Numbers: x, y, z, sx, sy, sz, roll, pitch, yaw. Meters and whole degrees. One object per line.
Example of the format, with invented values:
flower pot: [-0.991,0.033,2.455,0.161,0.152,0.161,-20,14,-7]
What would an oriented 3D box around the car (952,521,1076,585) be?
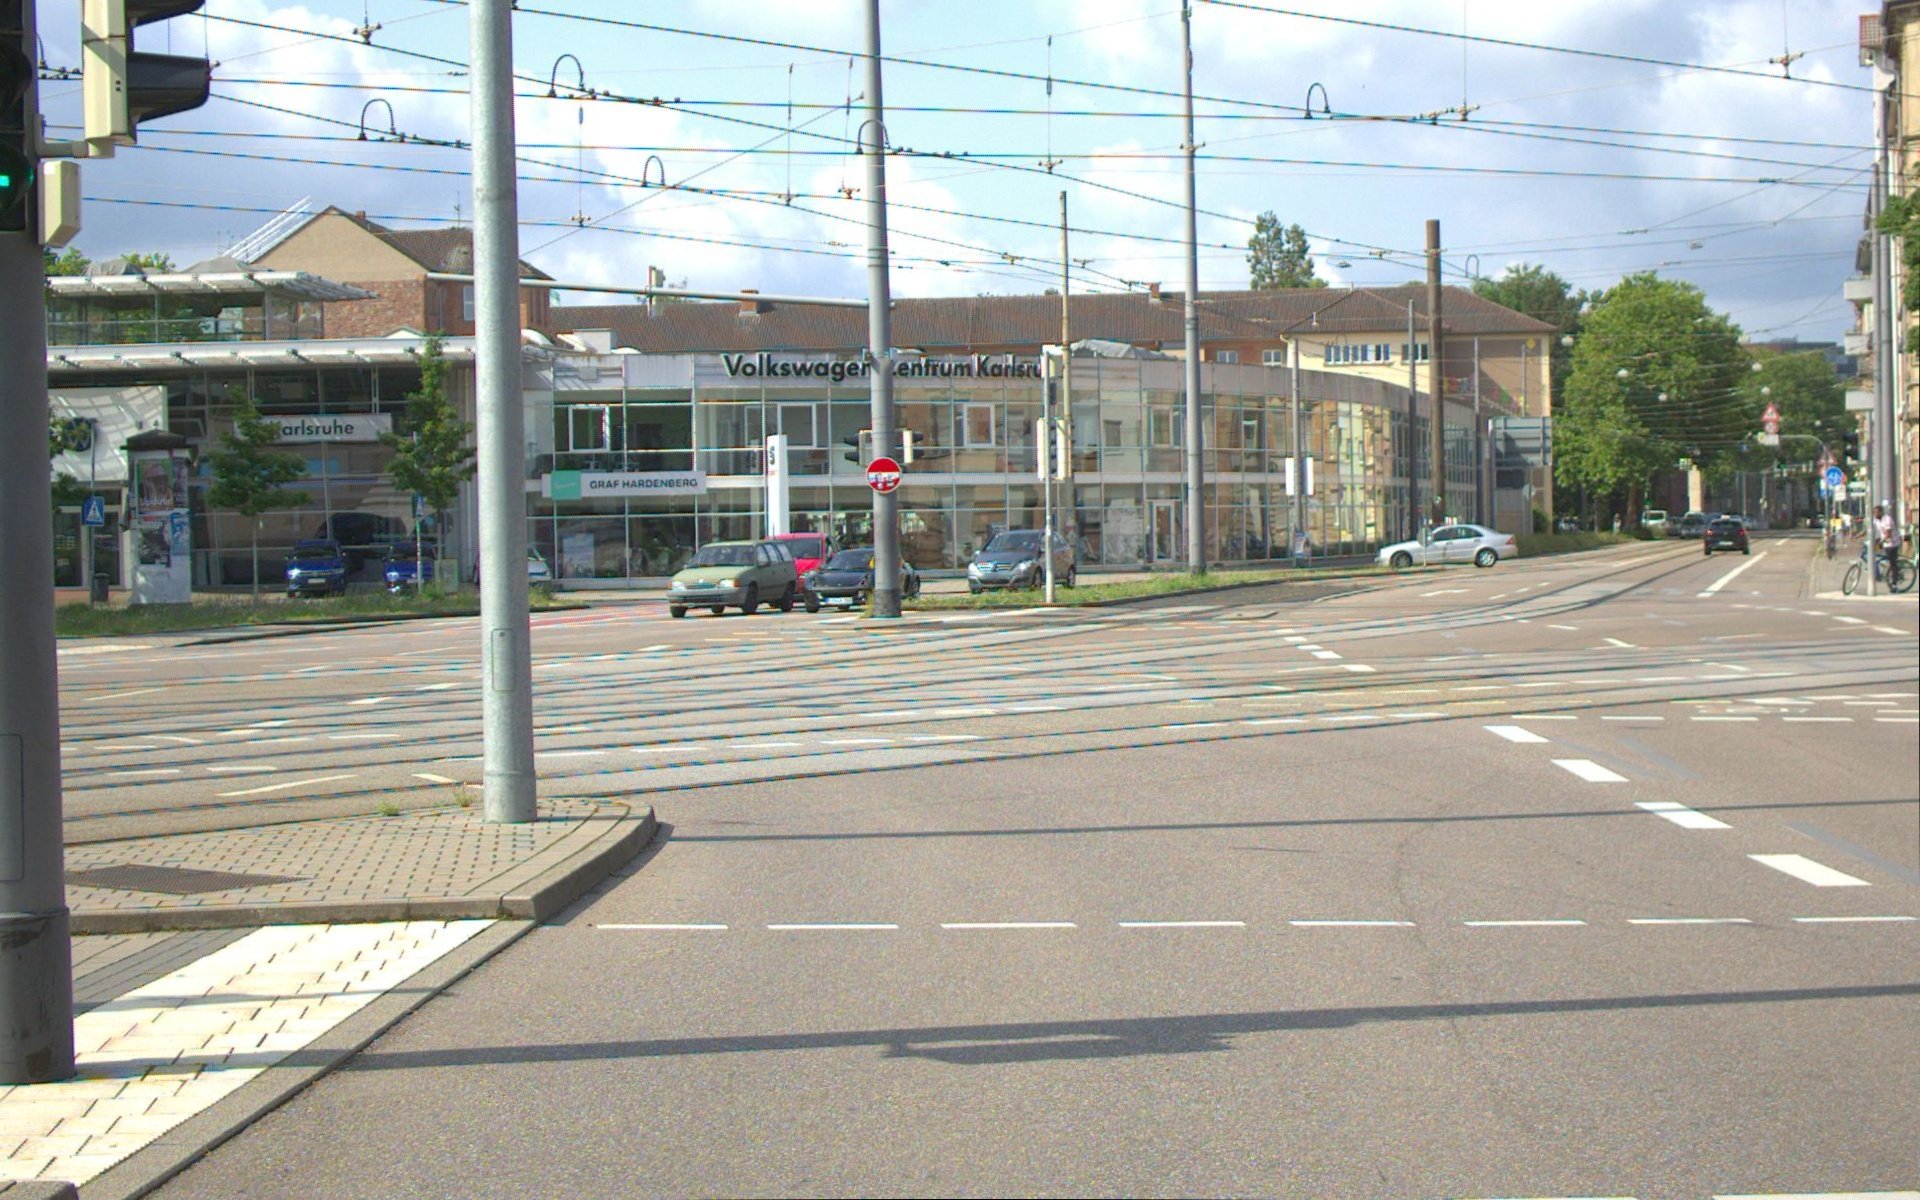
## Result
car: [1.393,-1.204,86.600,1.995,1.546,3.997,-1,1,18]

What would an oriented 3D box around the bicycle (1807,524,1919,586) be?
bicycle: [17.882,-0.883,66.692,2.671,1.166,0.901,-1,1,-3]

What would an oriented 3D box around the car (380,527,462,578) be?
car: [-15.997,-1.418,102.179,1.919,1.440,4.001,-1,1,-2]

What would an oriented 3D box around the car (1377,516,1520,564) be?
car: [15.645,-1.928,110.323,4.468,1.459,1.781,1,0,6]

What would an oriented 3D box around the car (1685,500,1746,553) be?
car: [29.914,-2.918,136.030,1.995,2.007,3.997,-1,1,18]

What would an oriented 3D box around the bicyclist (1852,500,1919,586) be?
bicyclist: [18.001,-1.108,66.633,1.193,1.652,0.786,-1,1,-3]

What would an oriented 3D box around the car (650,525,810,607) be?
car: [-4.372,-0.650,65.949,1.822,1.508,3.997,1,1,15]

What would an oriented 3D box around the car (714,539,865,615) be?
car: [-3.518,-0.474,71.715,1.995,1.514,3.997,1,1,15]

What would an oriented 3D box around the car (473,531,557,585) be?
car: [-13.472,-1.289,104.210,1.919,1.546,4.000,-1,1,1]

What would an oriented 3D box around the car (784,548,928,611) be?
car: [-1.953,-0.393,65.739,1.622,1.157,3.997,1,1,15]

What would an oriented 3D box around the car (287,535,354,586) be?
car: [-19.101,-1.191,102.727,1.919,1.440,4.001,-1,1,-10]
